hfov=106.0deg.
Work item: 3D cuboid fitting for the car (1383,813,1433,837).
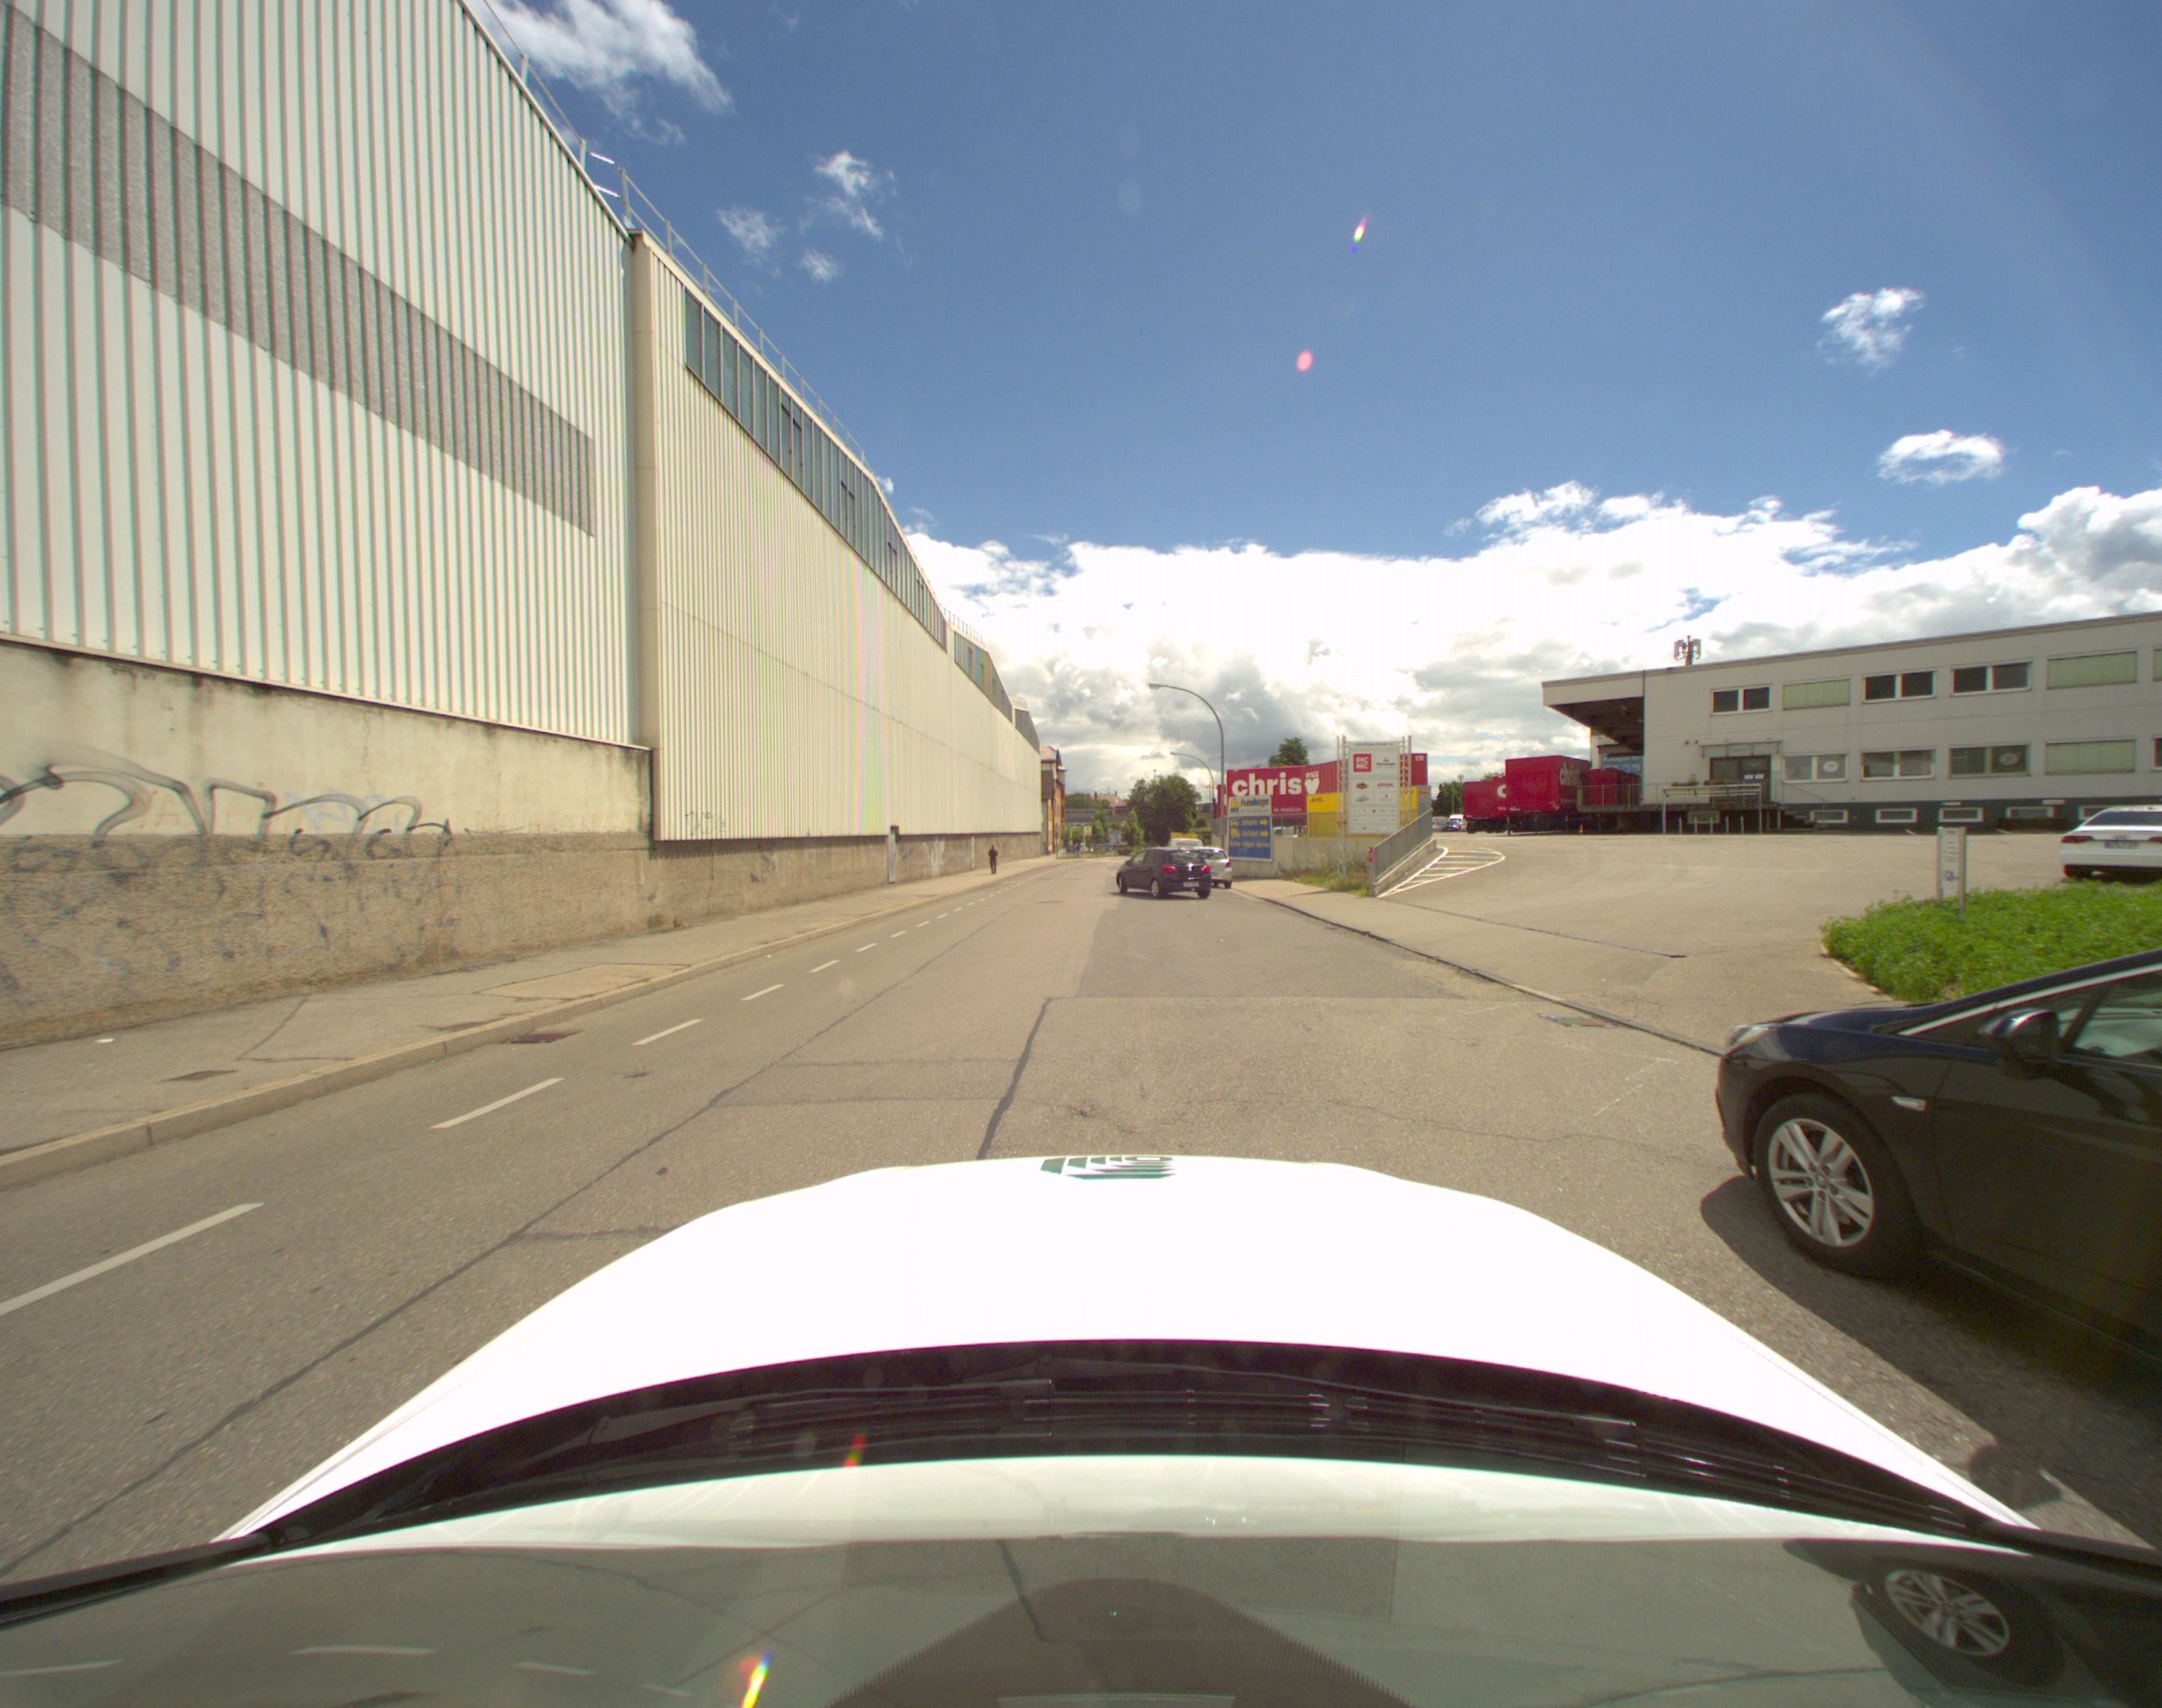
[{"bbox_3d":[39.843,-3.480,99.241,5.589,2.677,2.011,-1,-2,23],"label":"car"}]

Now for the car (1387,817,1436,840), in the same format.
[{"bbox_3d":[41.386,-3.140,101.890,5.589,2.541,2.011,-1,-2,23],"label":"car"}]

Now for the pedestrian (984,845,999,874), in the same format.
[{"bbox_3d":[-4.950,0.311,45.140,0.709,1.638,0.778,-1,-2,4],"label":"pedestrian"}]

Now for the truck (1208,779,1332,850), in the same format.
[{"bbox_3d":[13.519,-2.751,58.514,8.392,4.671,2.591,-1,-2,12],"label":"truck"}]

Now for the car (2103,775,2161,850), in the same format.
[{"bbox_3d":[28.592,-1.068,19.590,4.763,1.858,1.870,0,2,44],"label":"car"}]

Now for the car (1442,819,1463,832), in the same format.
[{"bbox_3d":[45.806,-3.486,100.292,1.678,1.455,4.340,-1,1,33],"label":"car"}]

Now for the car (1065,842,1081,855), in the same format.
[{"bbox_3d":[-0.961,-0.662,98.786,1.846,1.486,4.001,-1,-1,2],"label":"car"}]

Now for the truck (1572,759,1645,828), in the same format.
[{"bbox_3d":[36.760,-4.033,56.626,2.961,4.059,8.529,-2,-2,41],"label":"truck"}]

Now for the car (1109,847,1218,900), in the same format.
[{"bbox_3d":[2.389,0.536,24.521,1.708,1.447,3.766,0,0,-22],"label":"car"}]

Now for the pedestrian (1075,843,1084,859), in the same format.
[{"bbox_3d":[-0.128,-0.292,82.194,0.849,1.663,0.861,-1,-2,6],"label":"pedestrian"}]

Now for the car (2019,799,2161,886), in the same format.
[{"bbox_3d":[21.595,-0.297,16.662,4.354,1.391,1.845,-6,1,-23],"label":"car"}]

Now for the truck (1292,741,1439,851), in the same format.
[{"bbox_3d":[13.174,-2.466,38.621,2.579,4.449,7.821,0,-2,-15],"label":"truck"}]

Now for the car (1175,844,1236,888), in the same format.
[{"bbox_3d":[4.766,0.427,31.621,1.696,1.527,3.736,2,0,-2],"label":"car"}]

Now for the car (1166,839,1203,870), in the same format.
[{"bbox_3d":[5.368,0.007,42.446,1.694,1.527,3.742,0,0,4],"label":"car"}]

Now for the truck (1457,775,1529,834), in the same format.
[{"bbox_3d":[32.977,-3.825,65.001,2.961,4.059,8.529,-2,-2,41],"label":"truck"}]

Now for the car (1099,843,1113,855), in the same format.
[{"bbox_3d":[3.408,-0.697,110.162,1.846,1.486,4.001,-1,-1,2],"label":"car"}]

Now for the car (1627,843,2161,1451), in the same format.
[{"bbox_3d":[3.467,0.707,1.734,1.707,1.473,4.513,-1,0,2],"label":"car"}]

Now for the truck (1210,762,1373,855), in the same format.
[{"bbox_3d":[11.674,-2.397,45.333,8.375,4.671,2.596,-1,-2,23],"label":"truck"}]

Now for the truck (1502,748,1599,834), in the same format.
[{"bbox_3d":[26.387,-3.301,45.570,2.961,4.059,8.529,-2,-2,41],"label":"truck"}]
